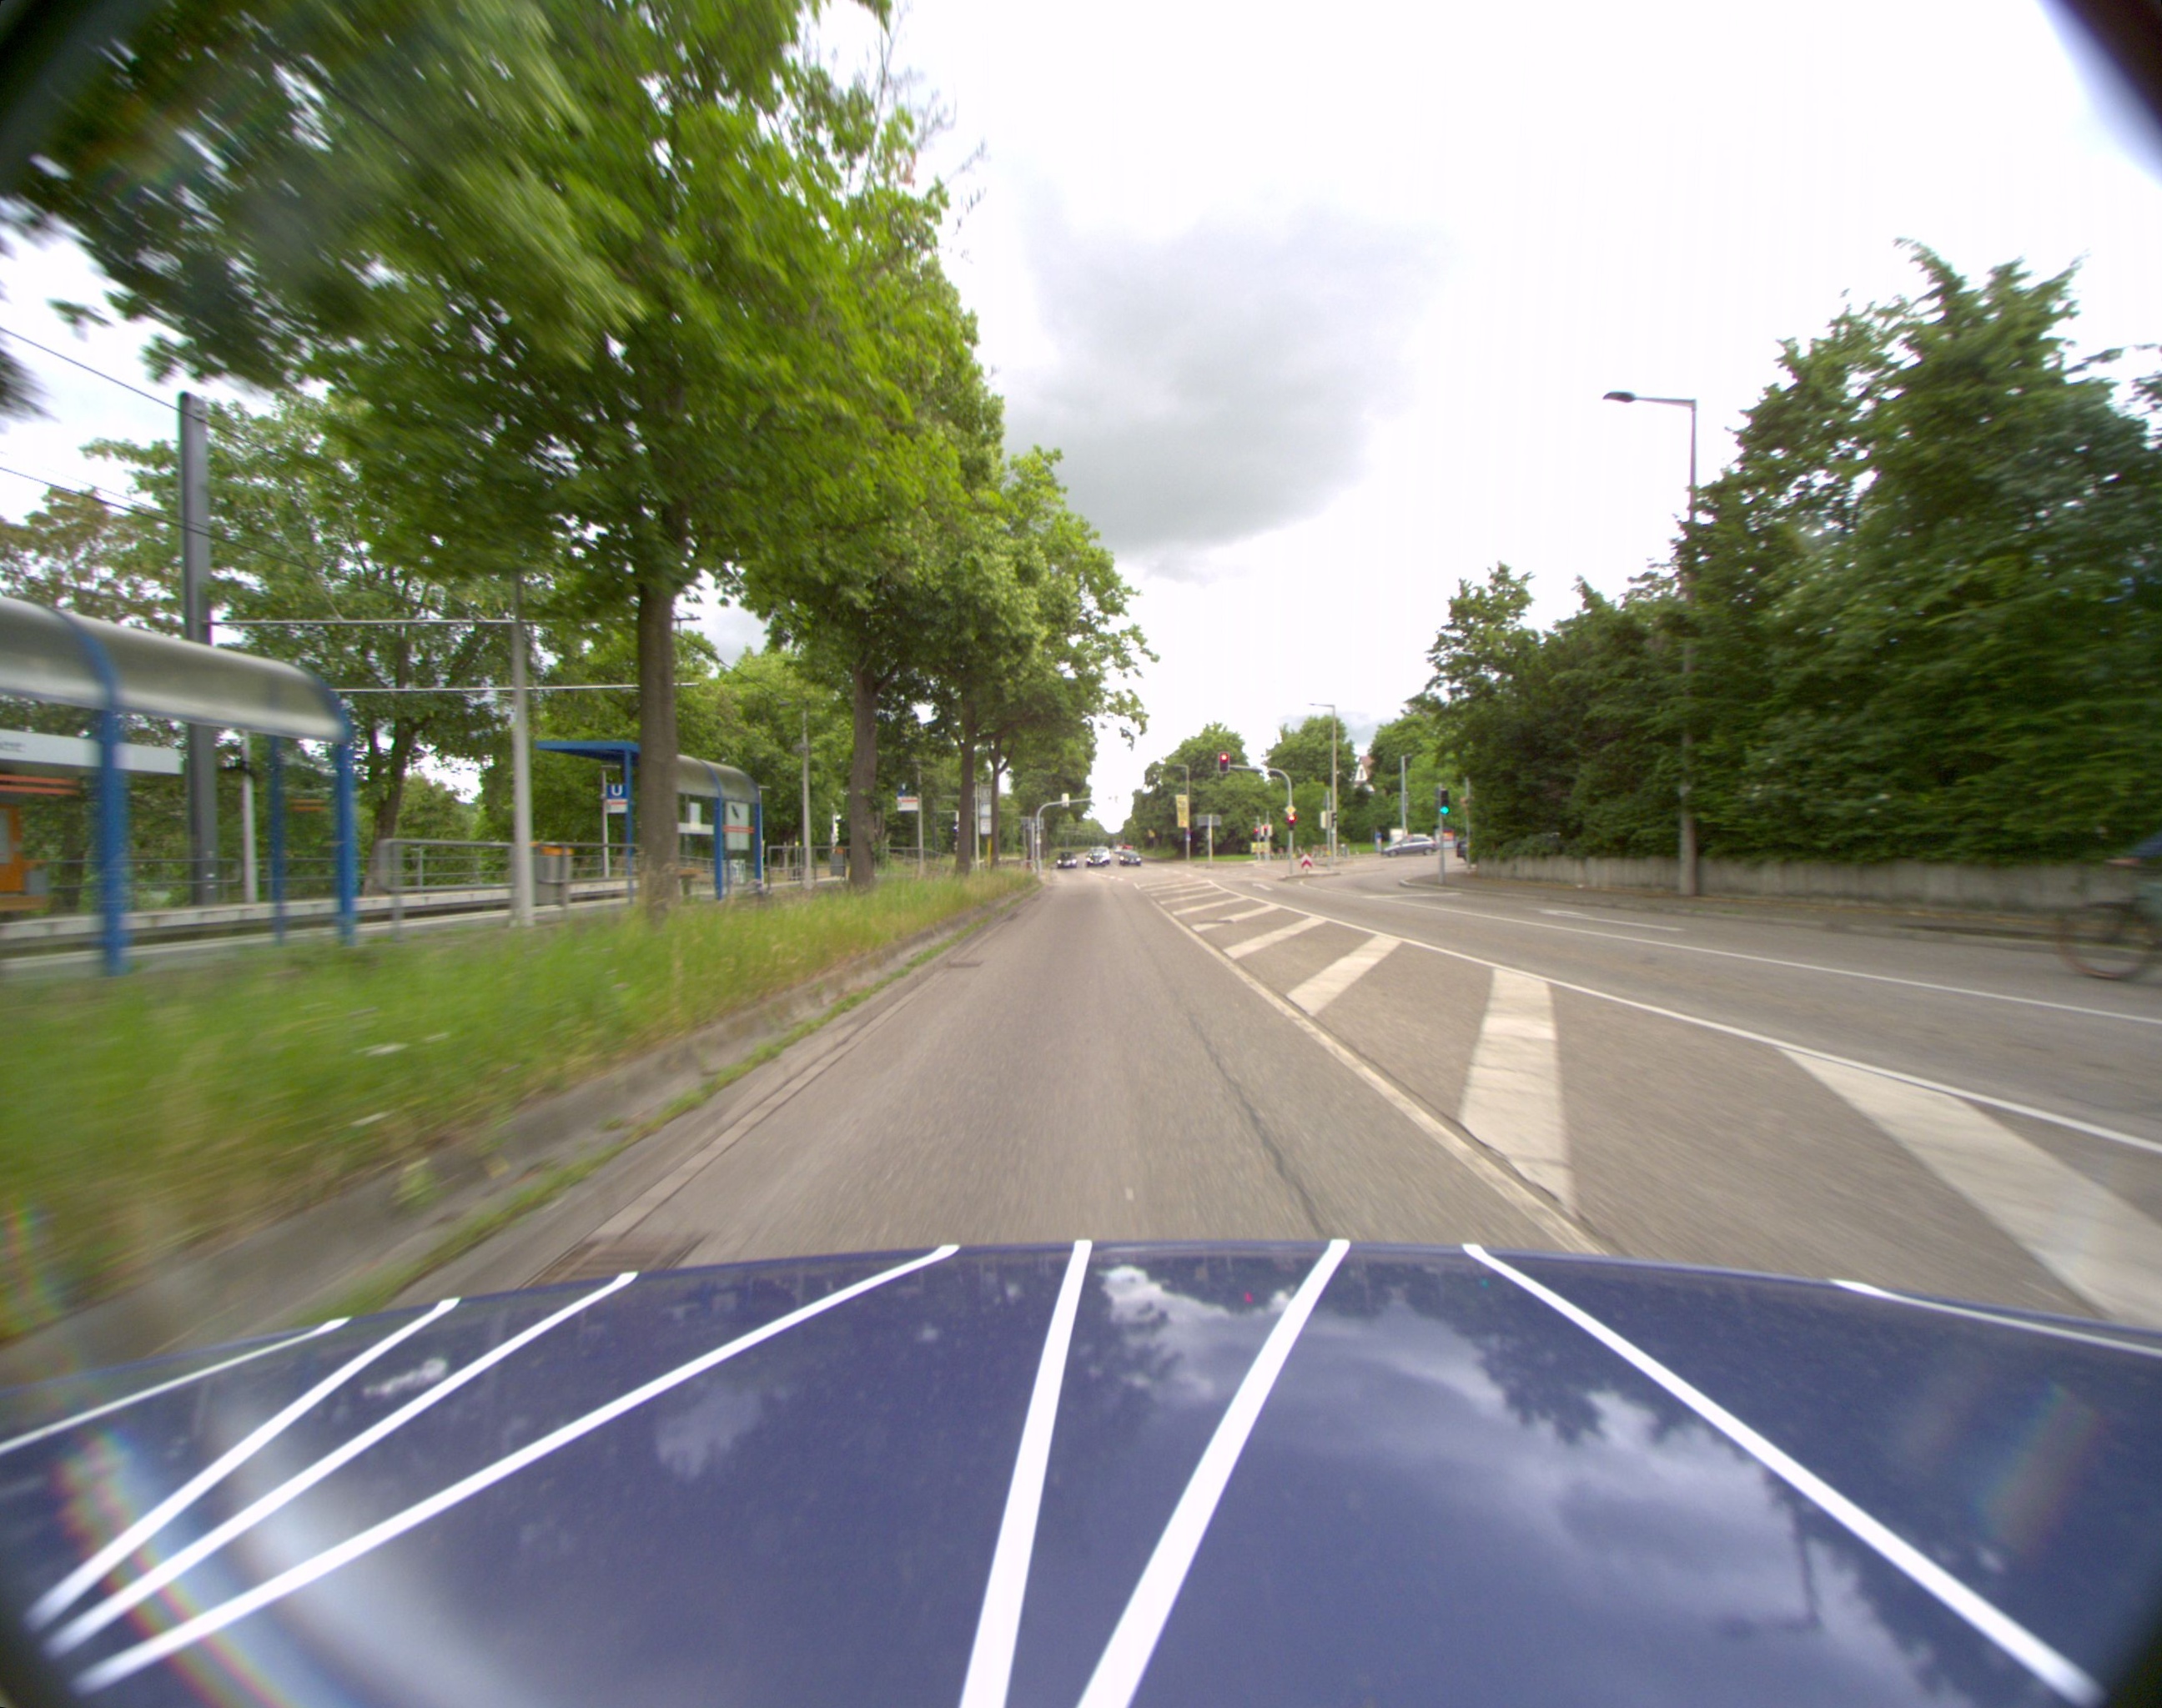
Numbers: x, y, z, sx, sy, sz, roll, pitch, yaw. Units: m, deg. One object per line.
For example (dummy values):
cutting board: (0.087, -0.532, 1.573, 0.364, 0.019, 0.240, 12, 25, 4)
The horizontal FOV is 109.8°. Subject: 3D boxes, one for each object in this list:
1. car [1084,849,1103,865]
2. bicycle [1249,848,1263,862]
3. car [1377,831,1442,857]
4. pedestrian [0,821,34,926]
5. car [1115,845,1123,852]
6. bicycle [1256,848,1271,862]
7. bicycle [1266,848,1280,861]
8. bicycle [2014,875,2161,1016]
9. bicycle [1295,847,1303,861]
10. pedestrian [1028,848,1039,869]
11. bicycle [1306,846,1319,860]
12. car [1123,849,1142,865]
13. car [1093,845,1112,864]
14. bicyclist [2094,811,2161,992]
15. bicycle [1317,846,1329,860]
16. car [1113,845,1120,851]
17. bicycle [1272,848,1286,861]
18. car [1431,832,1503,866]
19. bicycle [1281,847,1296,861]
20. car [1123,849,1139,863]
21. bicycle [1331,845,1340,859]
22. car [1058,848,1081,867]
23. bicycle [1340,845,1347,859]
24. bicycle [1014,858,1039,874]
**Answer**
car: (1.220, 0.258, 72.373, 1.708, 1.472, 3.667, -2, 1, 1)
bicycle: (17.441, 0.073, 75.545, 0.544, 1.245, 1.939, -2, 1, 39)
car: (27.042, -0.807, 62.730, 4.737, 1.842, 2.002, -3, 1, 17)
pedestrian: (-15.781, 0.297, 10.788, 0.720, 1.503, 0.724, -3, 1, 4)
car: (8.924, -1.355, 177.257, 1.743, 1.530, 3.910, -3, 1, 3)
bicycle: (18.076, 0.075, 75.239, 0.544, 1.245, 1.939, -2, 1, 39)
bicycle: (18.916, 0.059, 74.764, 0.544, 1.245, 1.939, -2, 1, 39)
bicycle: (9.504, 0.793, 6.357, 0.644, 1.138, 2.147, -3, 0, -4)
bicycle: (21.055, -0.033, 73.355, 0.544, 1.245, 1.937, -3, 1, 18)
pedestrian: (-3.822, 0.362, 61.643, 0.753, 1.727, 0.840, 1, 1, 5)
bicycle: (22.208, -0.086, 72.833, 0.544, 1.245, 1.939, -2, 1, 34)
car: (4.788, 0.227, 70.907, 1.560, 1.458, 3.807, 0, 0, 1)
car: (2.267, 0.033, 81.468, 1.912, 1.832, 5.281, -2, 1, 1)
bicyclist: (9.488, 0.393, 6.362, 0.644, 1.526, 0.978, -3, 1, -4)
bicycle: (23.076, -0.127, 72.462, 0.544, 1.245, 1.939, -2, 1, 34)
car: (9.270, -1.498, 200.167, 1.743, 1.530, 3.910, -3, 1, 4)
bicycle: (19.351, 0.044, 74.228, 0.544, 1.245, 1.939, -2, 1, 39)
car: (20.708, -0.291, 40.645, 1.903, 1.669, 5.090, -1, 1, 45)
bicycle: (20.149, 0.008, 73.759, 0.544, 1.245, 1.939, -2, 1, 39)
car: (5.161, 0.176, 78.673, 1.595, 1.459, 3.929, 0, 1, 3)
bicycle: (24.157, -0.178, 72.105, 0.544, 1.245, 1.938, -2, 1, 23)
car: (-1.003, 0.293, 69.891, 1.807, 1.520, 3.929, -2, 1, 3)
bicycle: (24.818, -0.209, 71.834, 0.544, 1.245, 1.937, -3, 1, 18)
bicycle: (-3.805, 0.835, 52.827, 1.679, 1.084, 0.602, 1, 1, -3)
